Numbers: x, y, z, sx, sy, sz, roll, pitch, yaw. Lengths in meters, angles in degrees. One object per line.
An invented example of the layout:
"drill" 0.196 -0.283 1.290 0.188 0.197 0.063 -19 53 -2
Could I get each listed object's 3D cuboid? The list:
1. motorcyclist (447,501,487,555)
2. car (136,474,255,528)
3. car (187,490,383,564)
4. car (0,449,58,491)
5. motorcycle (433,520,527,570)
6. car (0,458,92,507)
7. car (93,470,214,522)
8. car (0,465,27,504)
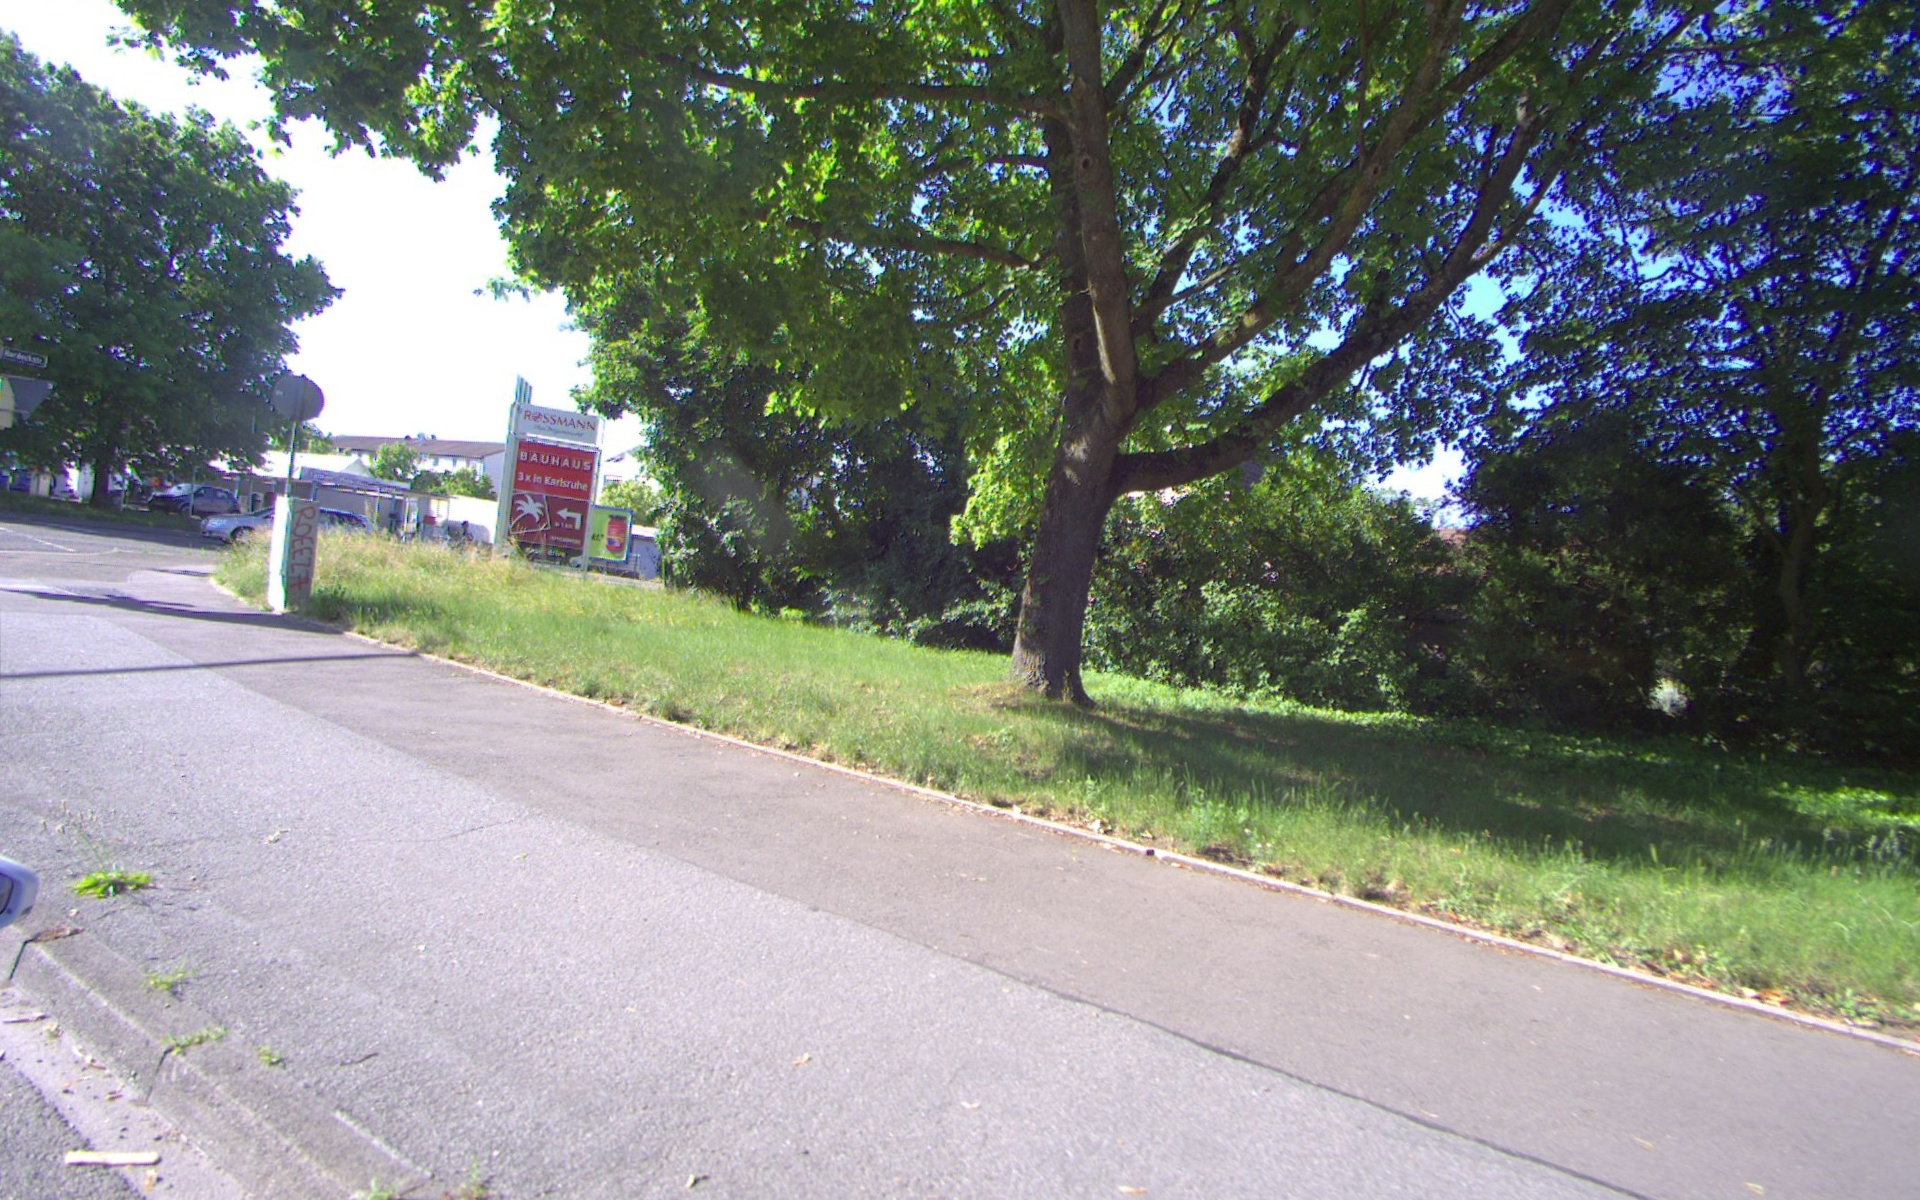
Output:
"motorcyclist" -17.043 -2.485 34.765 0.858 1.699 0.824 9 -2 -42
"car" -34.039 -4.375 44.899 1.771 1.630 3.854 7 -2 12
"car" -20.746 -2.220 31.054 1.973 1.593 4.610 6 -1 42
"car" -49.365 -6.873 51.907 1.675 1.704 3.722 7 -2 29
"motorcycle" -16.740 -1.918 35.142 2.718 1.285 0.824 10 -2 -43
"car" -43.079 -5.479 46.847 1.772 1.581 3.851 8 -2 0
"car" -36.107 -4.625 45.178 1.771 1.499 3.854 7 -2 12
"car" -45.999 -5.651 46.601 1.672 1.704 3.728 8 -2 5
